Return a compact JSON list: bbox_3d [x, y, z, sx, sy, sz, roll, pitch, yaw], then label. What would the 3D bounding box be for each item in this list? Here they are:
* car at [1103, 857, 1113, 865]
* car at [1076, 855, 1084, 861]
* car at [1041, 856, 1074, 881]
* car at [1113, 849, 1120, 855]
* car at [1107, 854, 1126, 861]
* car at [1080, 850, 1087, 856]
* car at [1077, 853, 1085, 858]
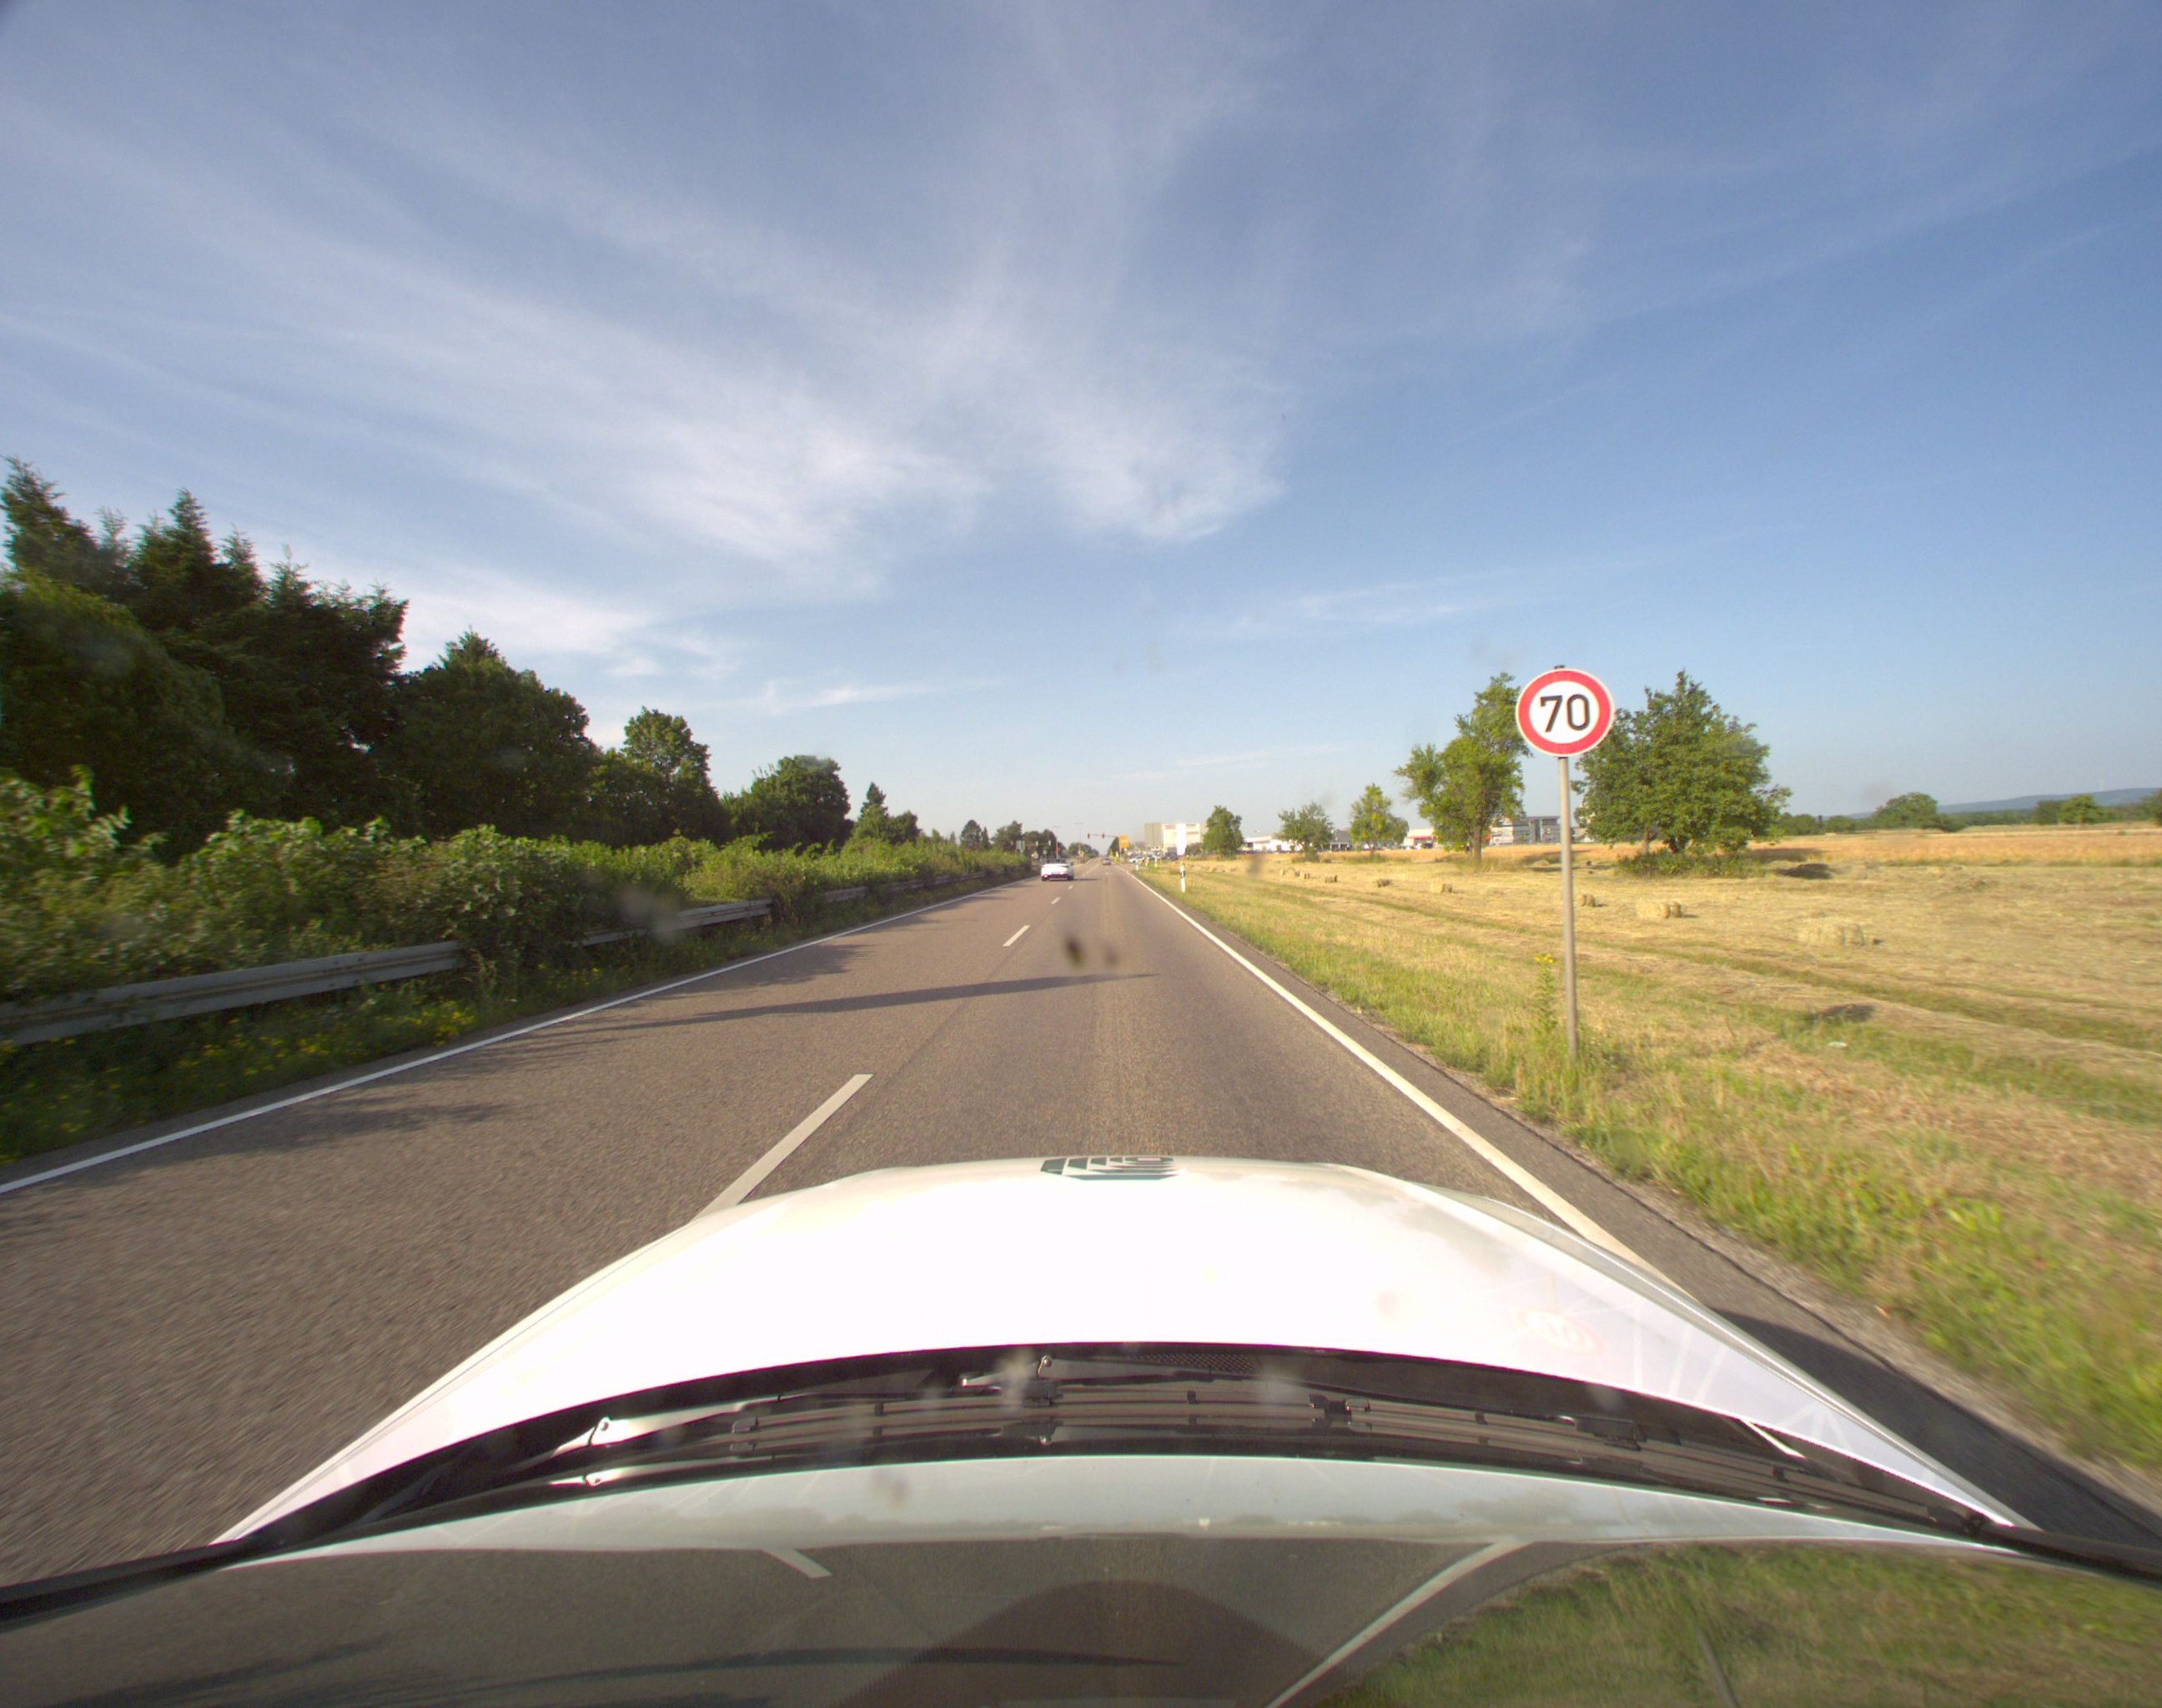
[{"bbox_3d":[5.539,1.424,169.171,1.986,1.486,4.001,-1,0,1],"label":"car"},{"bbox_3d":[-0.216,1.097,205.747,1.940,1.408,4.003,-1,0,2],"label":"car"},{"bbox_3d":[-1.425,0.883,50.800,1.903,1.422,4.001,-1,0,1],"label":"car"},{"bbox_3d":[10.589,-0.554,244.054,1.985,1.757,4.003,-1,0,3],"label":"car"},{"bbox_3d":[8.530,0.830,194.421,3.998,1.408,1.942,-1,0,-18],"label":"car"},{"bbox_3d":[0.845,-0.169,244.588,1.940,1.772,4.003,-1,0,2],"label":"car"},{"bbox_3d":[0.052,0.394,230.626,1.940,1.408,4.003,-1,0,2],"label":"car"}]
